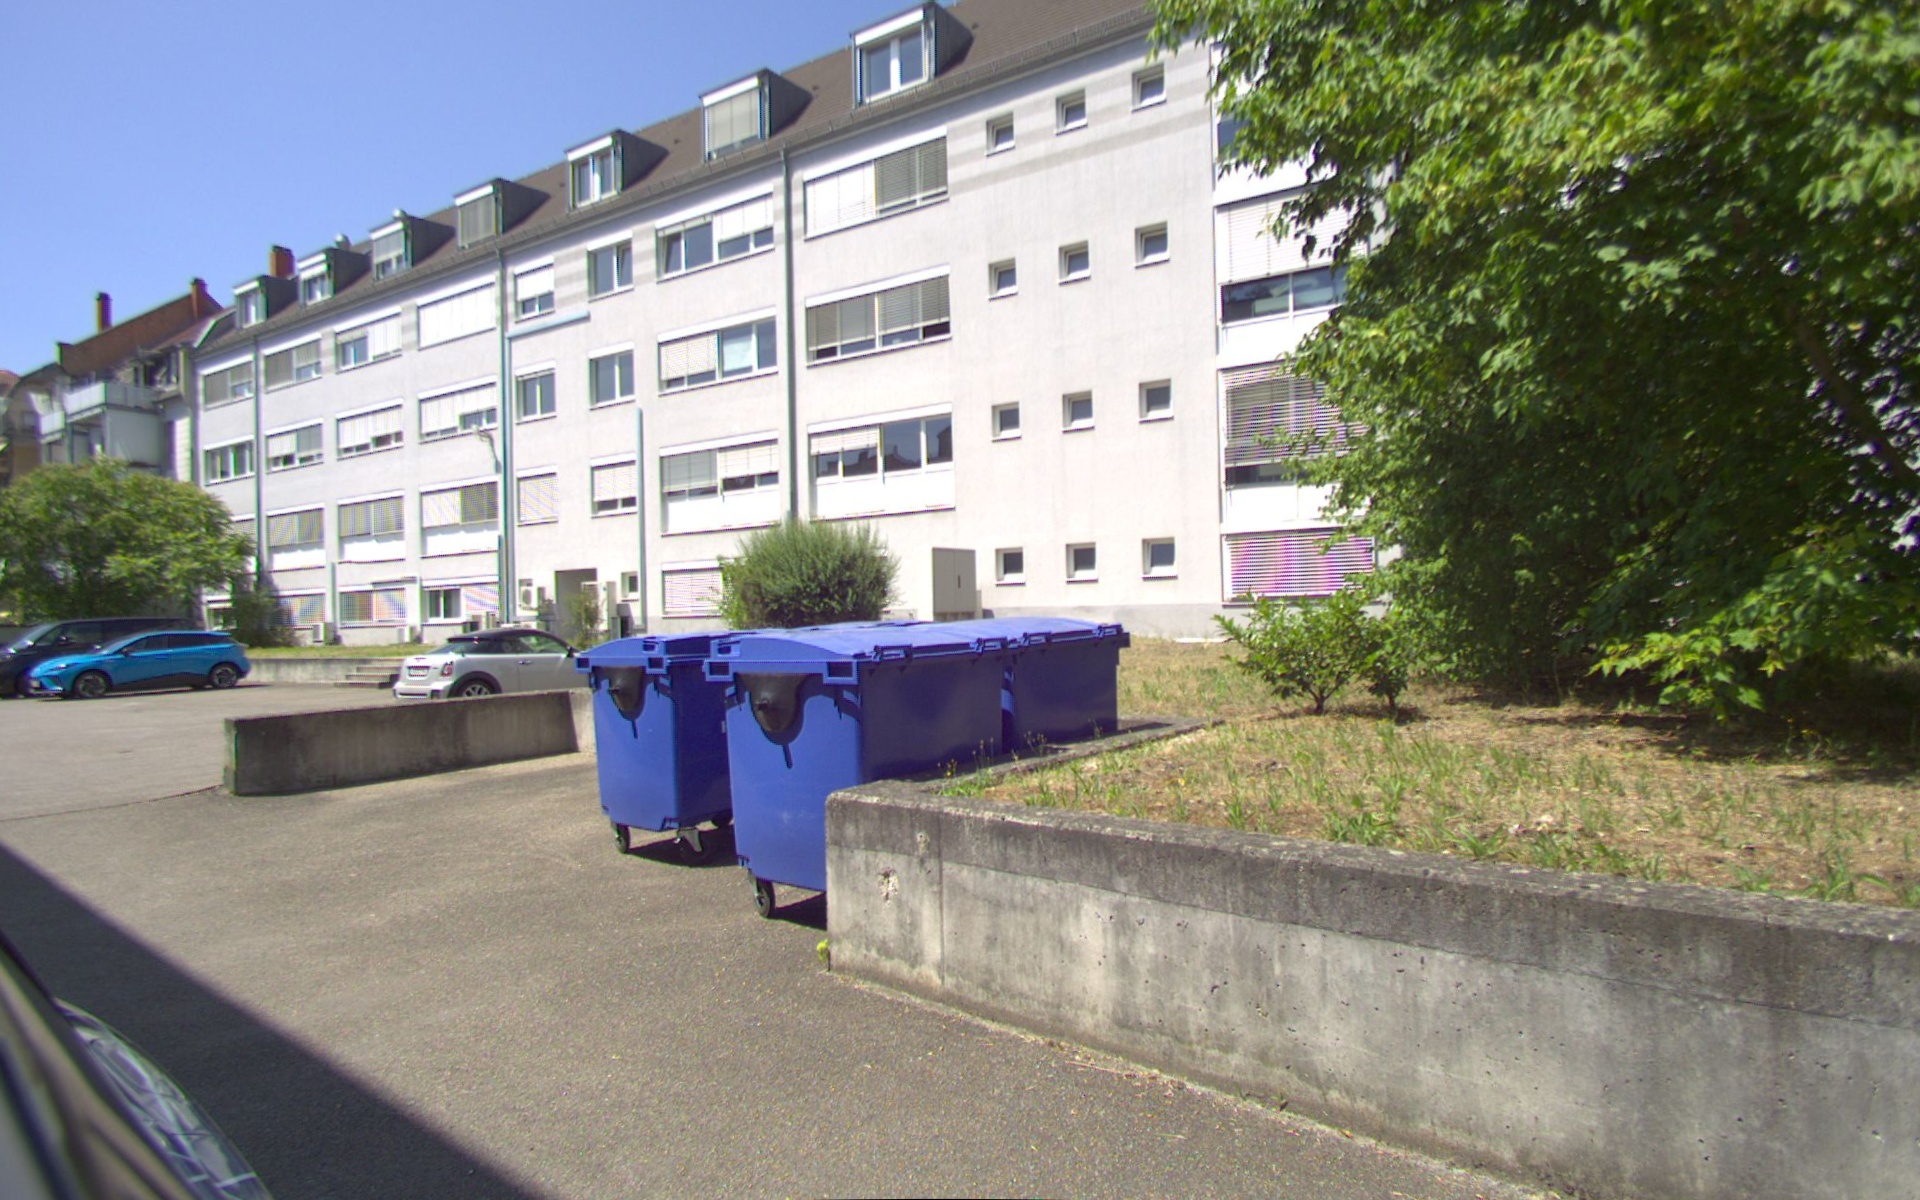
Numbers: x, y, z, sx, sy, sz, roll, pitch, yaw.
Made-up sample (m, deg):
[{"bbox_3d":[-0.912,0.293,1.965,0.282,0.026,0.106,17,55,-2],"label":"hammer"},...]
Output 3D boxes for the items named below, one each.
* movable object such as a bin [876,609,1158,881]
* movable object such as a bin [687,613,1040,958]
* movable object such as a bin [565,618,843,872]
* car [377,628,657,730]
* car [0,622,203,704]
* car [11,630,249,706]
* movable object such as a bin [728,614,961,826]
[{"bbox_3d":[0.352,0.747,5.901,1.102,1.338,1.242,-3,-1,38],"label":"movable object such as a bin"},{"bbox_3d":[-0.437,0.756,4.836,1.102,1.338,1.242,-3,-1,38],"label":"movable object such as a bin"},{"bbox_3d":[-1.570,0.805,6.283,1.102,1.338,1.242,-3,-1,38],"label":"movable object such as a bin"},{"bbox_3d":[-7.141,1.213,16.680,1.706,1.447,3.954,-2,-2,34],"label":"car"},{"bbox_3d":[-22.373,1.540,25.904,1.995,1.846,4.399,-2,-1,34],"label":"car"},{"bbox_3d":[-20.080,1.581,24.655,1.854,1.565,4.124,-2,-1,32],"label":"car"},{"bbox_3d":[-0.823,0.797,7.345,1.102,1.338,1.242,-3,-1,38],"label":"movable object such as a bin"}]
